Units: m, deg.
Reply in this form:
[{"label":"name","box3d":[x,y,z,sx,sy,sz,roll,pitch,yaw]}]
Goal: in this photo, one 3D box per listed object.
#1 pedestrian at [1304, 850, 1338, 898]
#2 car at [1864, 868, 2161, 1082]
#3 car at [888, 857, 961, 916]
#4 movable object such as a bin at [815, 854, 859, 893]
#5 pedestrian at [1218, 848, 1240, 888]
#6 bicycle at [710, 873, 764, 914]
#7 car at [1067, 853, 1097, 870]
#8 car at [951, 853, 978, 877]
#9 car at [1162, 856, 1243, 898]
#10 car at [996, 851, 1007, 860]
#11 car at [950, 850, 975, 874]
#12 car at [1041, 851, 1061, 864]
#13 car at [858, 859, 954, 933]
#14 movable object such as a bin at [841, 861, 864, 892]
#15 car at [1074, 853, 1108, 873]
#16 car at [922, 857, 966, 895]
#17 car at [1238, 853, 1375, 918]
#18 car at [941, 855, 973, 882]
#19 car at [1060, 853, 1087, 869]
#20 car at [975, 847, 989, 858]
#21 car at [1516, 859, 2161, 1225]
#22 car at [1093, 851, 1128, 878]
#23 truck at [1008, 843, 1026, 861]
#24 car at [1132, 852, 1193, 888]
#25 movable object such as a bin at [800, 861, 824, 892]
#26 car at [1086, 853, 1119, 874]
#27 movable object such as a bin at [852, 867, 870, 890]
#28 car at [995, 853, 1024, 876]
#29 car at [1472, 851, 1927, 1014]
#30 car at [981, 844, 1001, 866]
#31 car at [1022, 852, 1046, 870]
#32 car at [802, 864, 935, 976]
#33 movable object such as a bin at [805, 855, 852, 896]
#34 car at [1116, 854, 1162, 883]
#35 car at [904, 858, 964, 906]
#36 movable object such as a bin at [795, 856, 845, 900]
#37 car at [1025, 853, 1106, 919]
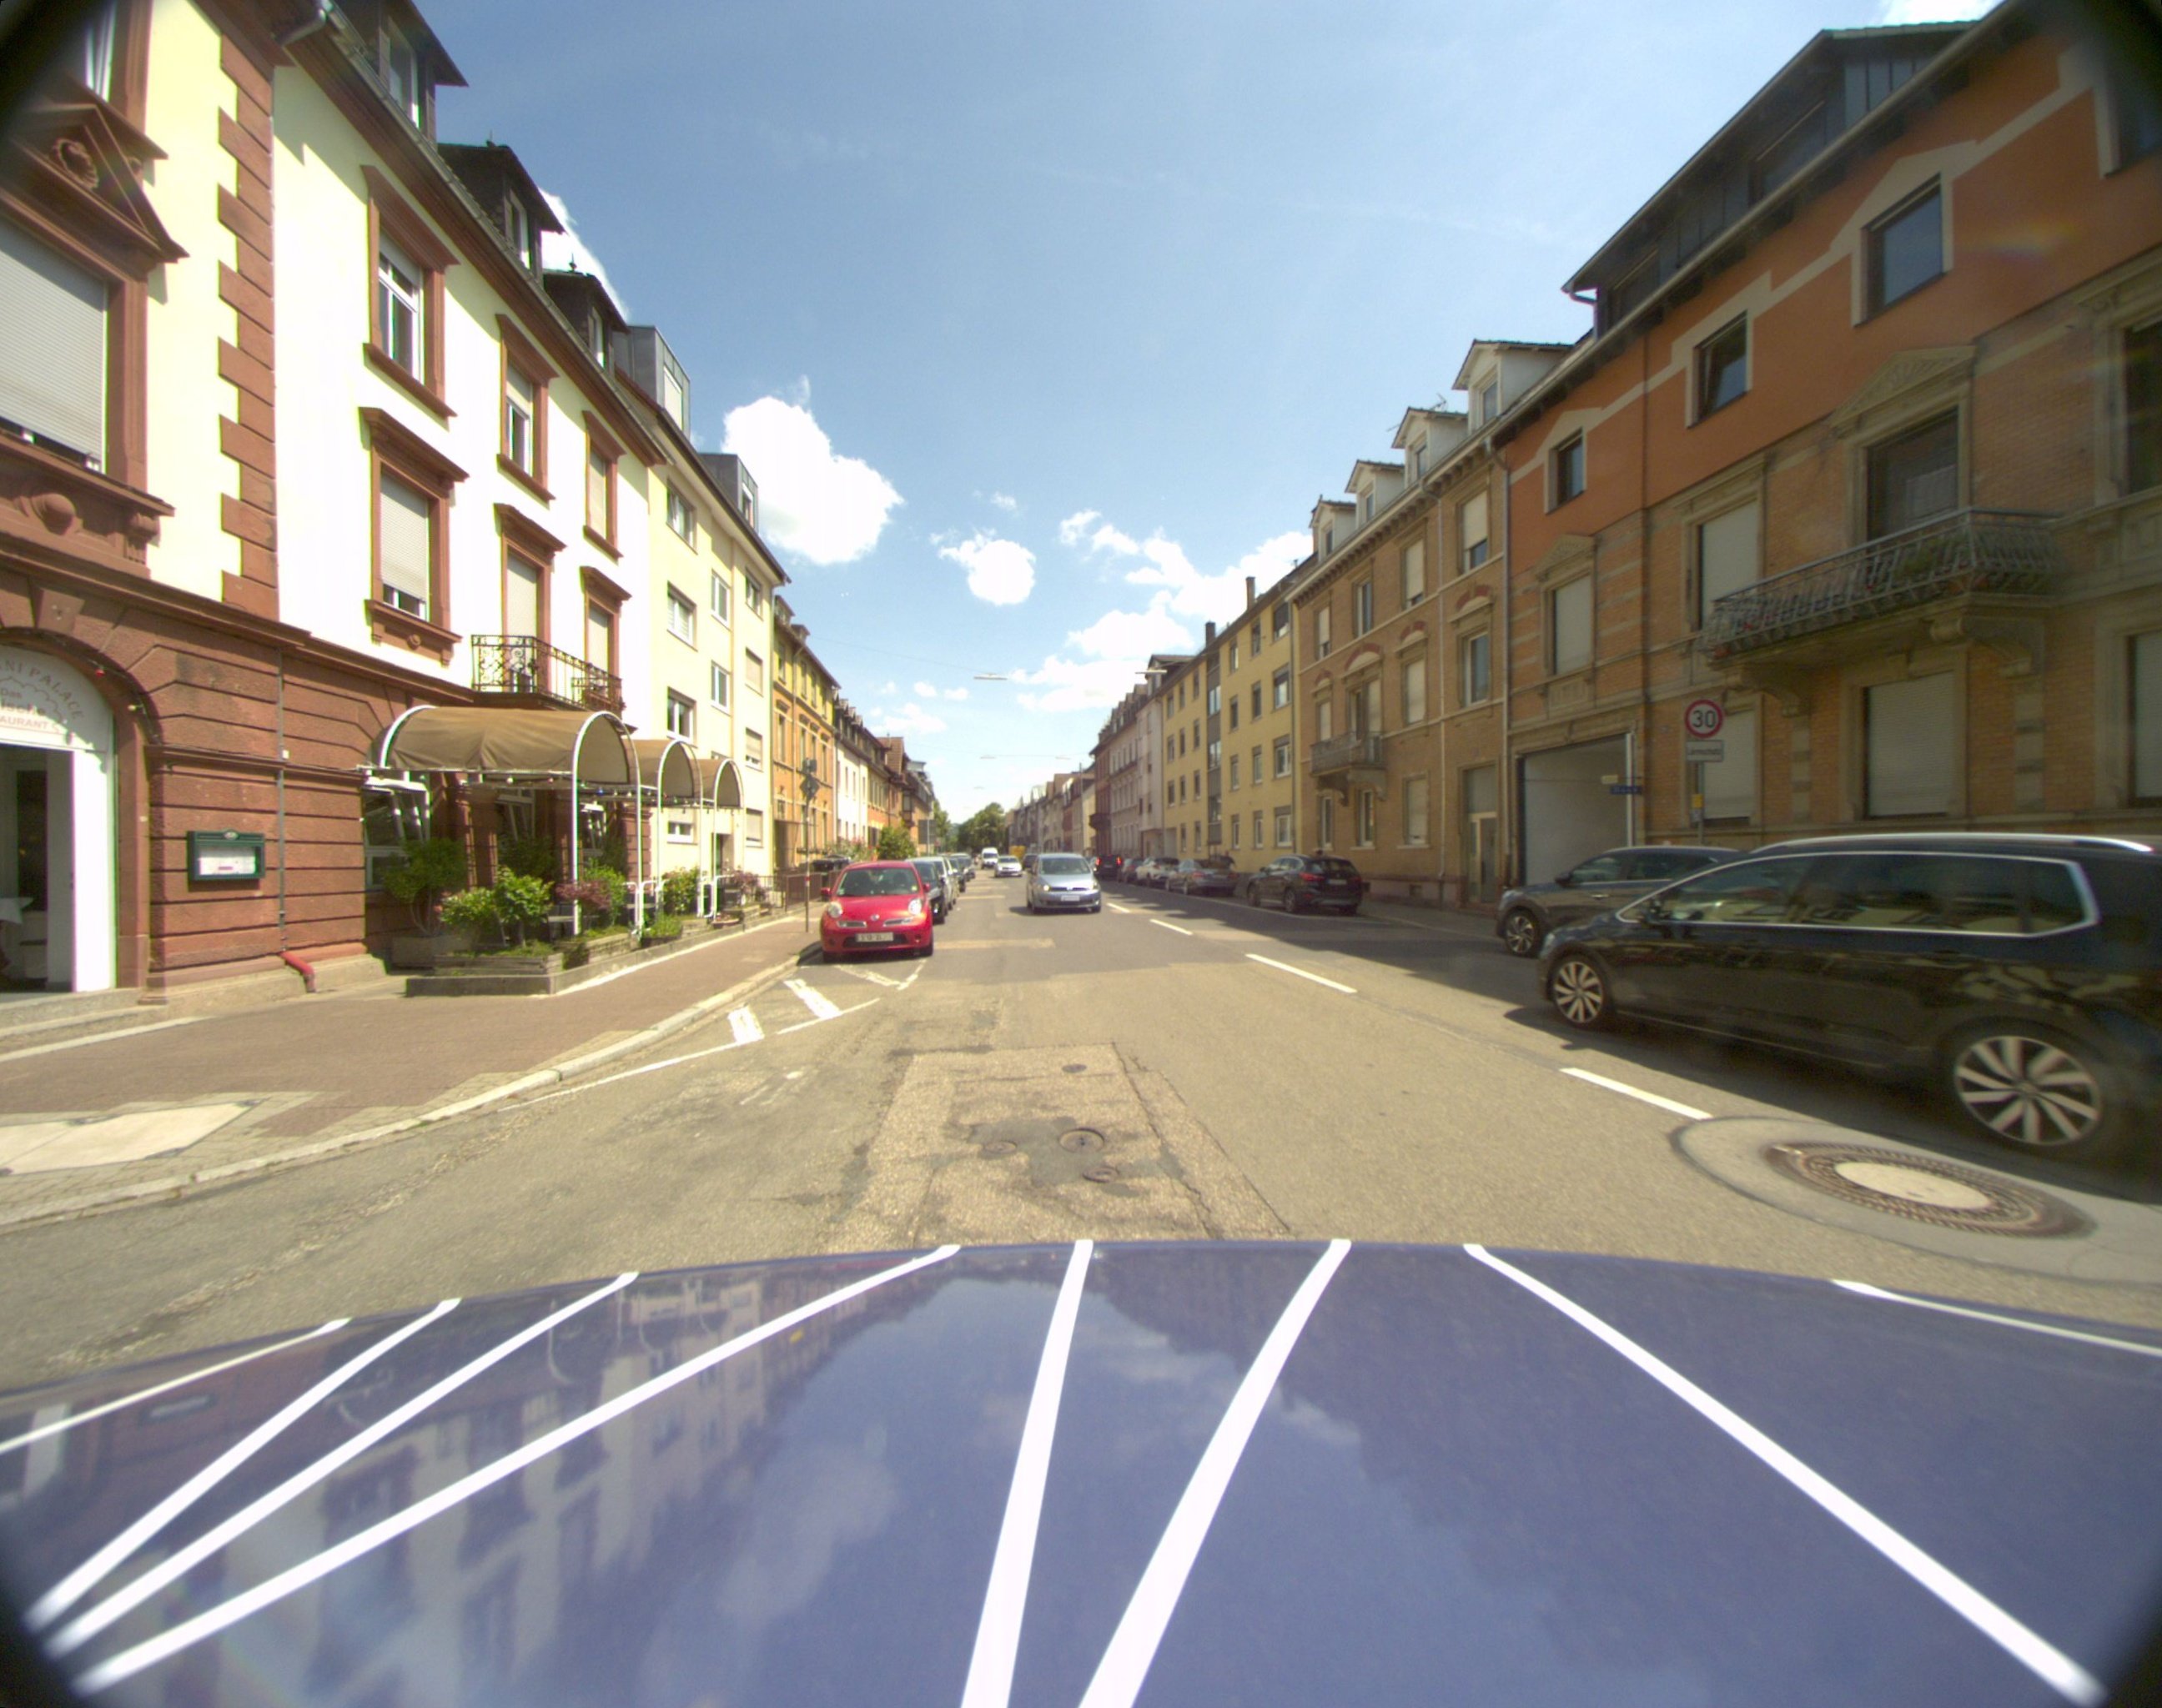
[{"label":"pedestrian","box3d":[7.833,0.645,24.793,0.805,1.525,0.875,0,1,-3]},{"label":"car","box3d":[8.385,0.891,4.904,1.871,1.417,4.327,3,0,-8]},{"label":"car","box3d":[-4.730,0.925,23.486,1.763,1.542,4.063,-3,1,-6]},{"label":"movable object such as a bin","box3d":[-8.987,0.707,28.023,1.286,1.402,1.304,0,1,-7]},{"label":"pedestrian","box3d":[6.430,0.603,33.058,0.804,1.746,0.875,0,1,0]},{"label":"bicycle","box3d":[-8.834,0.997,19.560,0.552,0.977,1.630,-1,0,4]},{"label":"car","box3d":[0.057,0.634,65.836,1.751,1.402,4.100,3,0,-11]},{"label":"car","box3d":[-7.971,0.745,52.033,1.710,1.470,3.928,-3,1,-8]},{"label":"car","box3d":[4.756,0.859,30.476,1.911,1.443,4.682,3,0,-8]},{"label":"car","box3d":[-13.712,0.253,130.737,1.811,1.522,3.997,1,0,-8]},{"label":"car","box3d":[-8.927,0.581,57.550,1.710,1.700,3.928,-3,1,-8]},{"label":"car","box3d":[-3.524,0.357,89.464,1.666,1.402,4.100,3,0,-11]},{"label":"car","box3d":[-4.152,0.925,18.600,1.763,1.470,3.928,-3,1,-6]},{"label":"movable object such as a bin","box3d":[-8.852,0.857,29.437,0.724,1.181,0.746,0,1,-9]},{"label":"car","box3d":[0.741,0.678,59.992,1.751,1.402,4.509,3,0,-10]},{"label":"car","box3d":[-6.050,0.908,33.928,1.763,1.470,4.415,-3,1,-9]},{"label":"car","box3d":[6.160,0.806,21.404,1.871,1.542,4.496,3,0,-9]},{"label":"car","box3d":[-7.470,0.821,46.011,1.710,1.470,3.928,-3,1,-8]},{"label":"car","box3d":[-0.758,0.626,71.858,1.751,1.402,4.100,3,0,-11]},{"label":"car","box3d":[-13.894,-0.265,107.241,1.906,1.489,4.484,-1,0,-7]},{"label":"car","box3d":[5.091,0.790,4.836,1.766,1.486,4.242,0,0,-9]},{"label":"car","box3d":[1.938,0.663,48.333,1.748,1.579,3.955,3,0,8]},{"label":"truck","box3d":[-10.205,-0.311,120.921,2.325,2.725,8.061,0,0,-9]},{"label":"car","box3d":[3.884,0.745,36.913,1.871,1.542,4.310,3,0,-8]},{"label":"movable object such as a bin","box3d":[-10.338,0.848,29.178,0.724,1.161,0.746,0,1,-9]},{"label":"car","box3d":[1.502,0.646,54.634,1.750,1.402,4.281,3,0,-7]},{"label":"movable object such as a bin","box3d":[-8.953,0.979,30.938,0.626,0.923,0.611,0,1,-9]},{"label":"car","box3d":[-4.991,0.708,52.686,1.906,1.489,4.484,-1,0,-7]},{"label":"car","box3d":[7.544,0.819,10.033,1.871,1.618,4.496,3,0,-9]},{"label":"car","box3d":[-9.657,0.079,80.988,1.906,2.261,5.667,-1,0,-8]},{"label":"car","box3d":[-4.647,0.656,74.121,1.914,1.601,4.442,0,0,-9]},{"label":"car","box3d":[-3.429,0.971,12.897,1.763,1.470,3.780,-3,1,-11]},{"label":"movable object such as a bin","box3d":[-8.841,0.737,26.661,1.286,1.388,1.363,0,1,-7]},{"label":"car","box3d":[3.148,0.772,41.919,1.750,1.402,3.912,3,0,-7]},{"label":"car","box3d":[-5.273,0.951,27.617,1.763,1.470,3.928,-3,1,-6]},{"label":"movable object such as a bin","box3d":[-8.643,0.767,25.260,1.286,1.388,1.412,0,1,-7]},{"label":"car","box3d":[-0.528,0.787,20.758,1.760,1.559,3.997,-2,0,-7]}]
